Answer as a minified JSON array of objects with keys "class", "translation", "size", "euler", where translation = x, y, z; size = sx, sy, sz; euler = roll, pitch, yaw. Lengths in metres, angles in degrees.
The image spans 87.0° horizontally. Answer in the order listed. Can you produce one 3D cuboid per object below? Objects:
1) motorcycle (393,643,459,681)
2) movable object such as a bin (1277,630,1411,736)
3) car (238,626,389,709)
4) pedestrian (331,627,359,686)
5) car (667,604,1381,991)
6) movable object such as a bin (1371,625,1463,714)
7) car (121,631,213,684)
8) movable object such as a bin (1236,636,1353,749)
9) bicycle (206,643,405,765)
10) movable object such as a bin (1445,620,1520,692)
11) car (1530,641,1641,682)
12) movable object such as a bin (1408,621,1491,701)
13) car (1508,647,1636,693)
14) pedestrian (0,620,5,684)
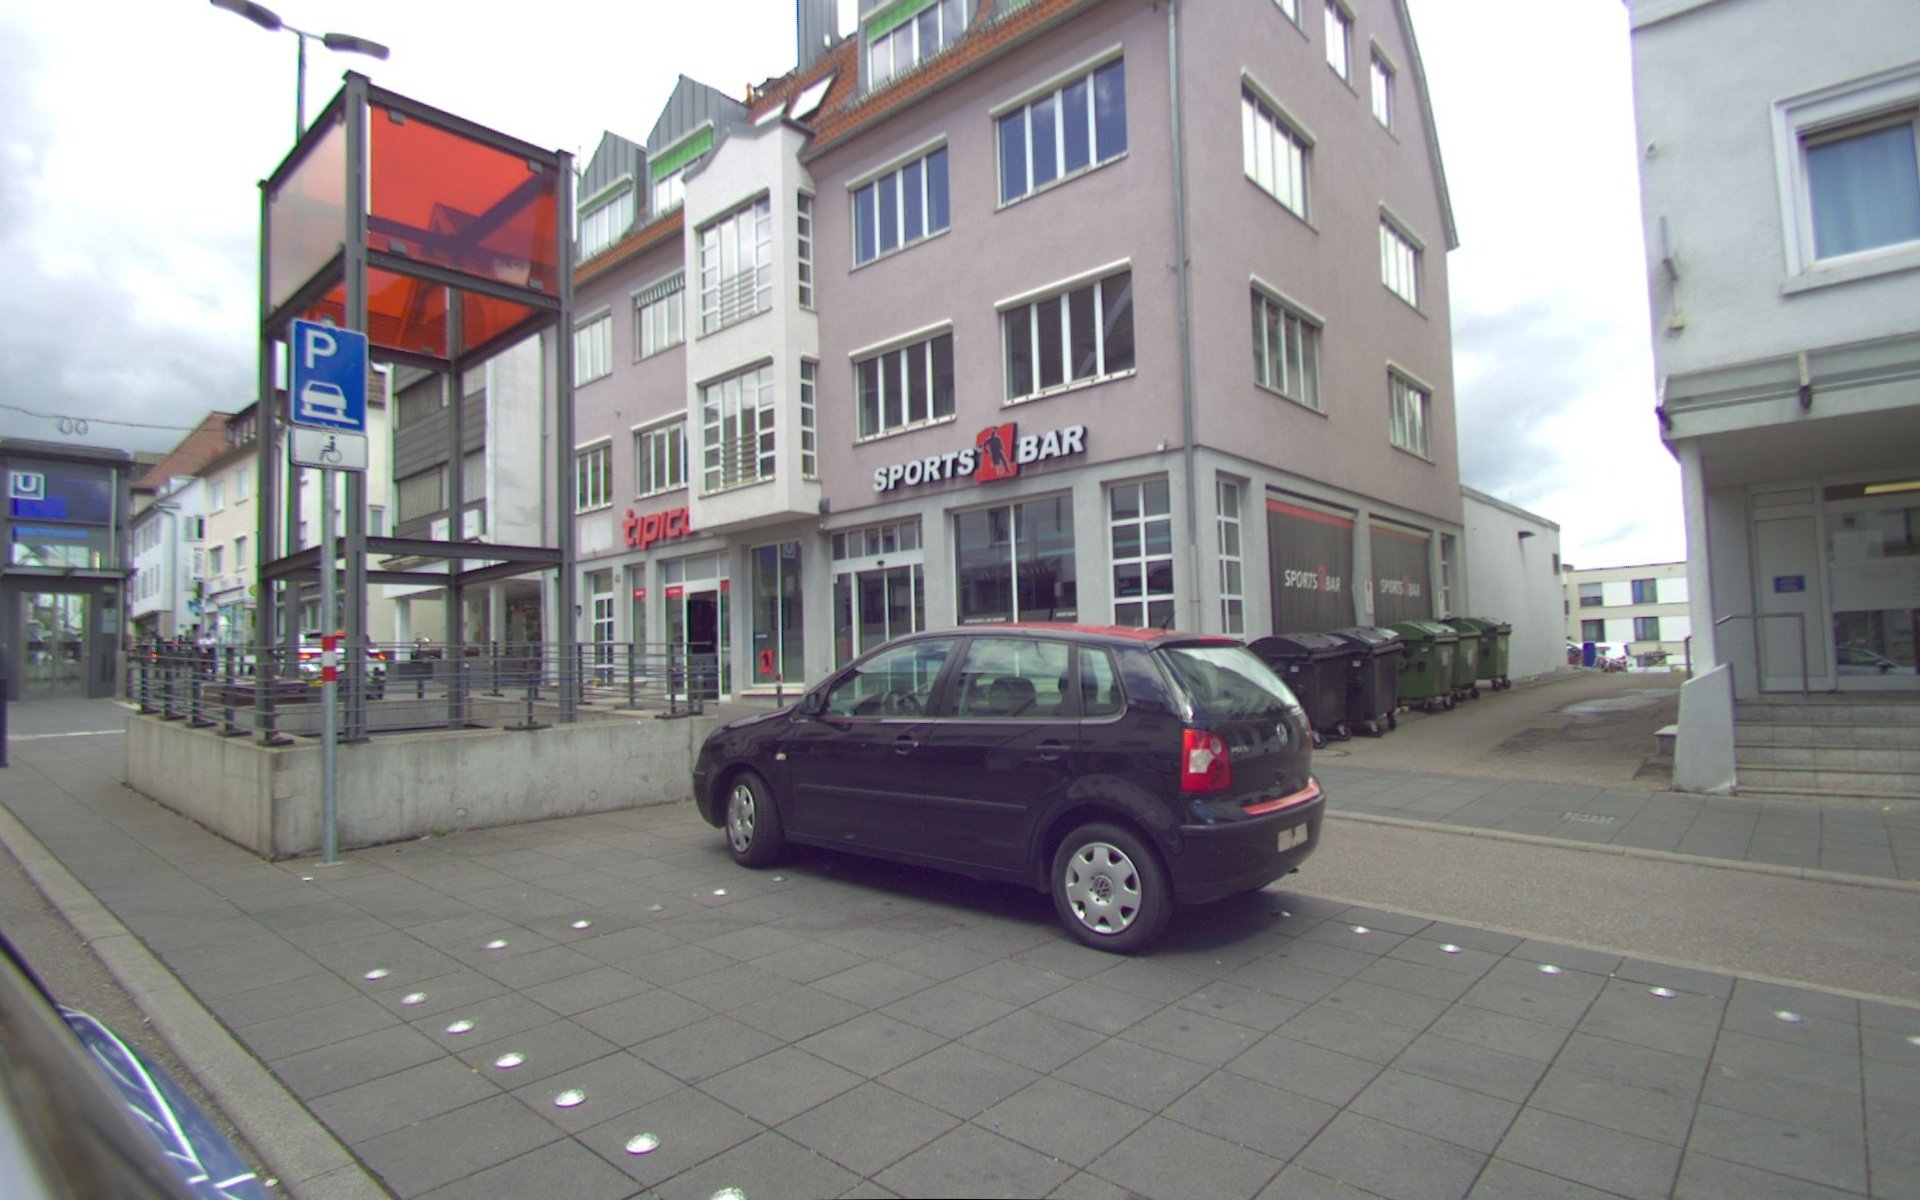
[{"class":"motorcycle","translation":[-17.687,2.033,33.554],"size":[0.634,1.149,1.830],"euler":[-1,0,40]},{"class":"movable object such as a bin","translation":[5.423,1.122,14.296],"size":[1.406,1.387,1.270],"euler":[-2,-2,41]},{"class":"car","translation":[-14.000,1.380,21.827],"size":[4.120,1.583,1.662],"euler":[-1,-1,41]},{"class":"pedestrian","translation":[-18.607,1.694,30.612],"size":[0.513,1.729,0.584],"euler":[-1,-1,41]},{"class":"car","translation":[0.163,0.829,5.749],"size":[3.851,1.486,1.553],"euler":[-1,-4,39]},{"class":"movable object such as a bin","translation":[7.521,1.110,16.647],"size":[1.043,1.387,1.270],"euler":[-2,-2,41]},{"class":"car","translation":[-26.231,1.844,33.433],"size":[4.120,1.583,1.662],"euler":[-1,-1,41]},{"class":"movable object such as a bin","translation":[4.440,1.183,13.415],"size":[1.067,1.387,1.270],"euler":[-2,-2,41]},{"class":"bicycle","translation":[-7.153,1.094,11.150],"size":[0.459,1.232,1.760],"euler":[-1,-3,40]},{"class":"movable object such as a bin","translation":[10.429,1.096,20.199],"size":[1.043,1.387,1.270],"euler":[-2,-2,41]},{"class":"car","translation":[27.859,2.716,45.106],"size":[3.934,1.621,1.941],"euler":[-1,0,41]},{"class":"movable object such as a bin","translation":[8.831,1.070,18.256],"size":[1.043,1.387,1.270],"euler":[-2,-2,41]},{"class":"car","translation":[24.811,2.793,41.100],"size":[4.212,1.621,1.850],"euler":[-1,0,41]},{"class":"pedestrian","translation":[-28.168,1.500,28.993],"size":[0.931,1.855,1.083],"euler":[-1,-1,41]}]
